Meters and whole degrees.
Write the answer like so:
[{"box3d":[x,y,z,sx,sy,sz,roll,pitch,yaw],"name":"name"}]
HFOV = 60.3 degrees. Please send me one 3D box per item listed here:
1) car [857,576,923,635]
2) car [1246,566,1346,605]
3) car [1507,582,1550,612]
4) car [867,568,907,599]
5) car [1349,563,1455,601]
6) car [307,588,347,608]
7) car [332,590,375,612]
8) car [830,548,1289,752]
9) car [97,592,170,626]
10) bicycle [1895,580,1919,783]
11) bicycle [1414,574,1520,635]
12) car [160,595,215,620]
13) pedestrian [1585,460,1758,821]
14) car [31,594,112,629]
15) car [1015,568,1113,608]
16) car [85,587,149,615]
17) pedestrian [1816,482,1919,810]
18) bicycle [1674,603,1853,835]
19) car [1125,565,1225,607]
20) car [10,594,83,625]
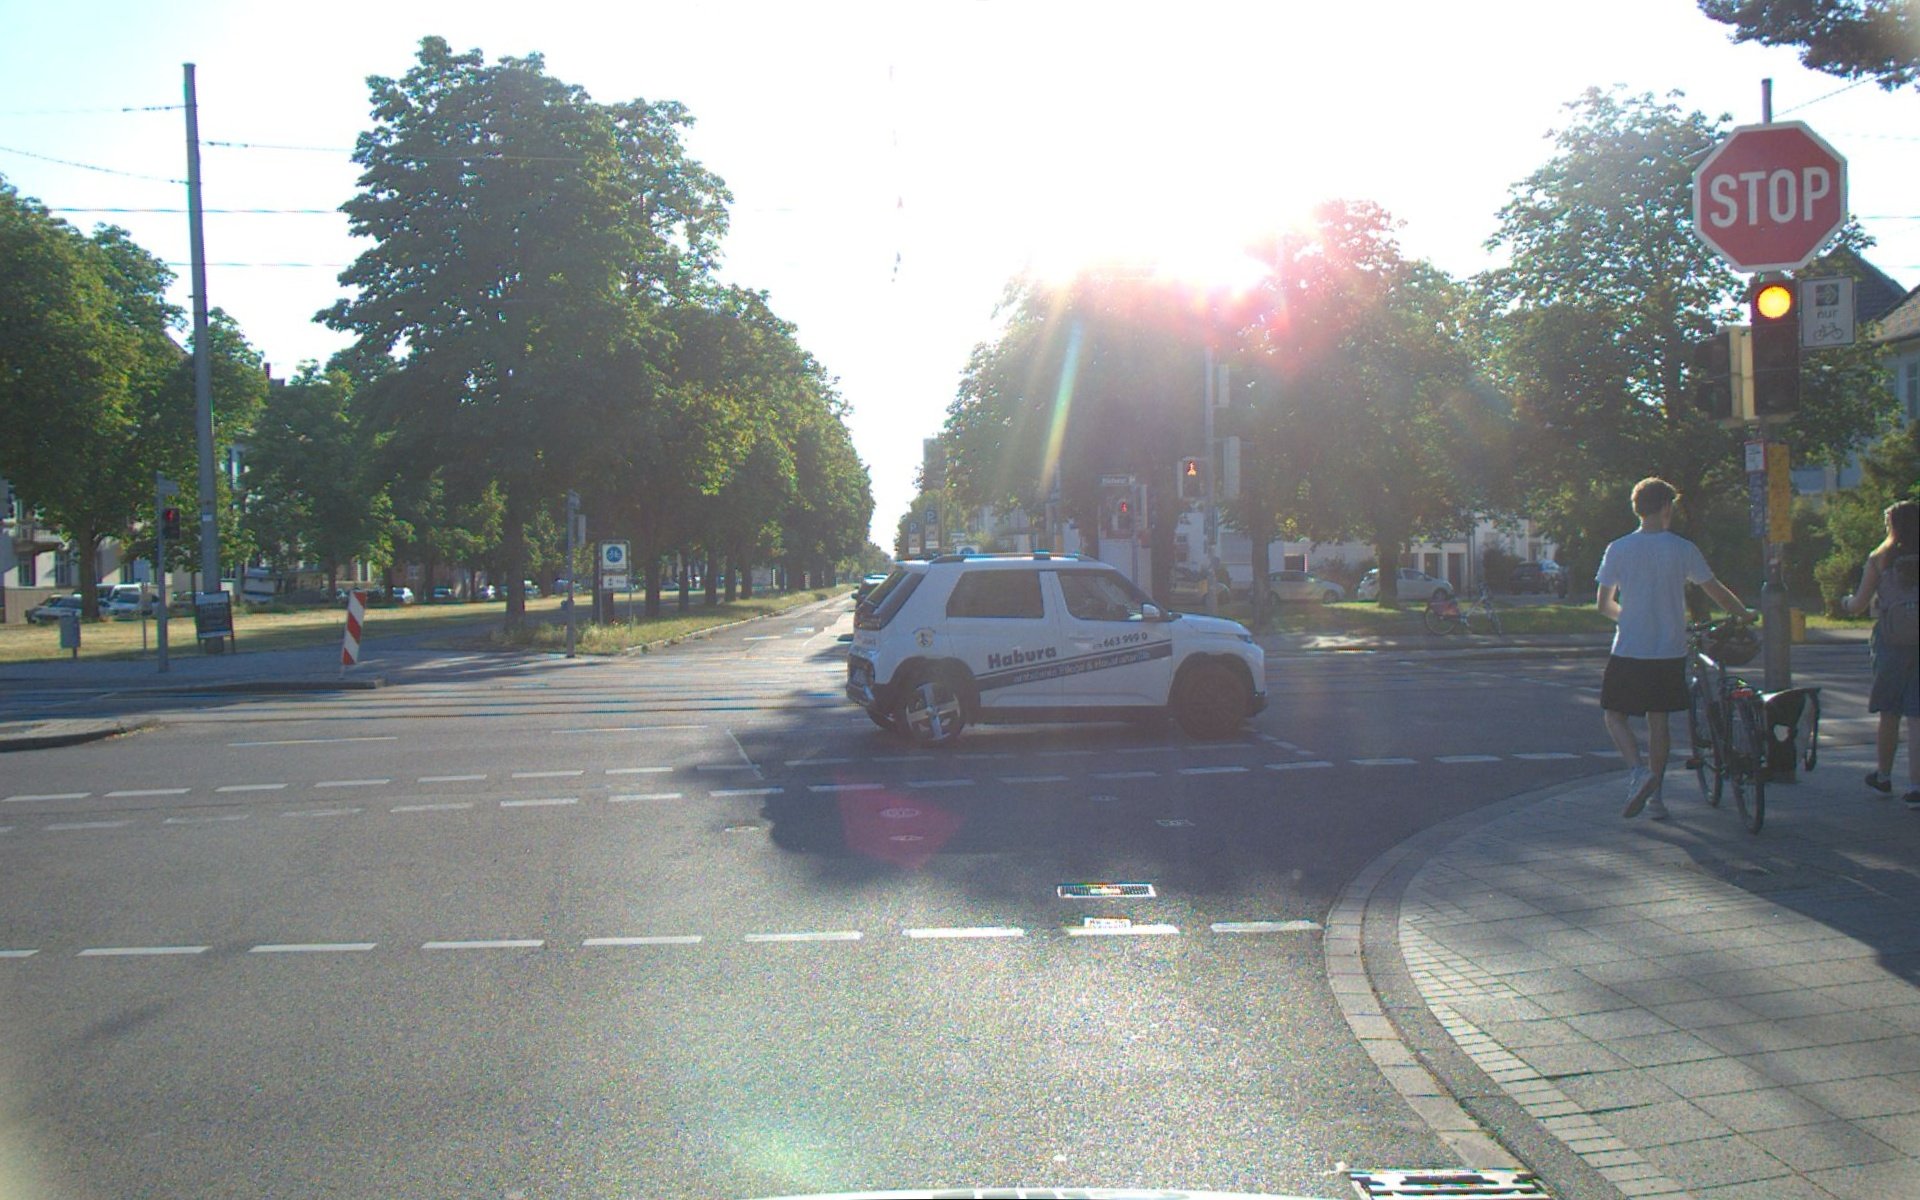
[{"box3d":[-1.826,0.114,43.834,1.607,1.476,3.307,-1,1,0],"name":"car"},{"box3d":[13.281,-0.571,65.447,3.593,1.452,1.529,-1,1,-7],"name":"car"},{"box3d":[29.041,-0.169,84.472,1.631,1.442,3.539,-1,1,27],"name":"car"},{"box3d":[-3.433,-0.786,77.875,1.808,1.418,3.828,0,1,-2],"name":"car"},{"box3d":[17.687,-0.723,66.287,3.772,1.452,1.595,-1,1,-7],"name":"car"},{"box3d":[-48.079,-0.185,125.654,1.703,1.452,3.791,0,1,-2],"name":"car"},{"box3d":[-42.315,0.080,115.495,1.703,1.452,3.791,0,1,-2],"name":"car"},{"box3d":[0.851,0.370,14.812,3.799,1.578,1.606,-2,3,-14],"name":"car"},{"box3d":[-40.323,0.428,80.743,1.703,1.452,3.792,-1,2,-2],"name":"car"},{"box3d":[5.626,0.478,9.018,0.476,1.162,1.599,-3,1,15],"name":"bicycle"},{"box3d":[10.111,0.086,32.988,1.914,1.152,0.620,-1,0,0],"name":"bicycle"},{"box3d":[-47.410,0.431,101.588,1.703,1.452,3.791,-1,1,-2],"name":"car"},{"box3d":[3.973,0.226,9.308,0.656,1.898,0.882,-4,-2,16],"name":"pedestrian"},{"box3d":[-40.078,0.497,74.700,1.703,1.452,3.791,-1,1,-2],"name":"car"},{"box3d":[4.063,-0.484,65.035,3.704,1.452,1.743,-1,2,-3],"name":"car"},{"box3d":[-46.508,0.040,91.328,1.703,1.452,3.791,-1,1,-2],"name":"car"},{"box3d":[5.202,0.230,9.119,0.655,1.737,0.623,-4,1,17],"name":"pedestrian"},{"box3d":[4.388,0.600,9.133,0.476,1.116,1.792,-3,0,14],"name":"bicycle"},{"box3d":[8.476,-0.572,65.429,3.704,1.552,1.743,-1,2,-3],"name":"car"},{"box3d":[-47.033,0.471,85.230,1.703,1.452,3.791,-1,1,-2],"name":"car"}]
